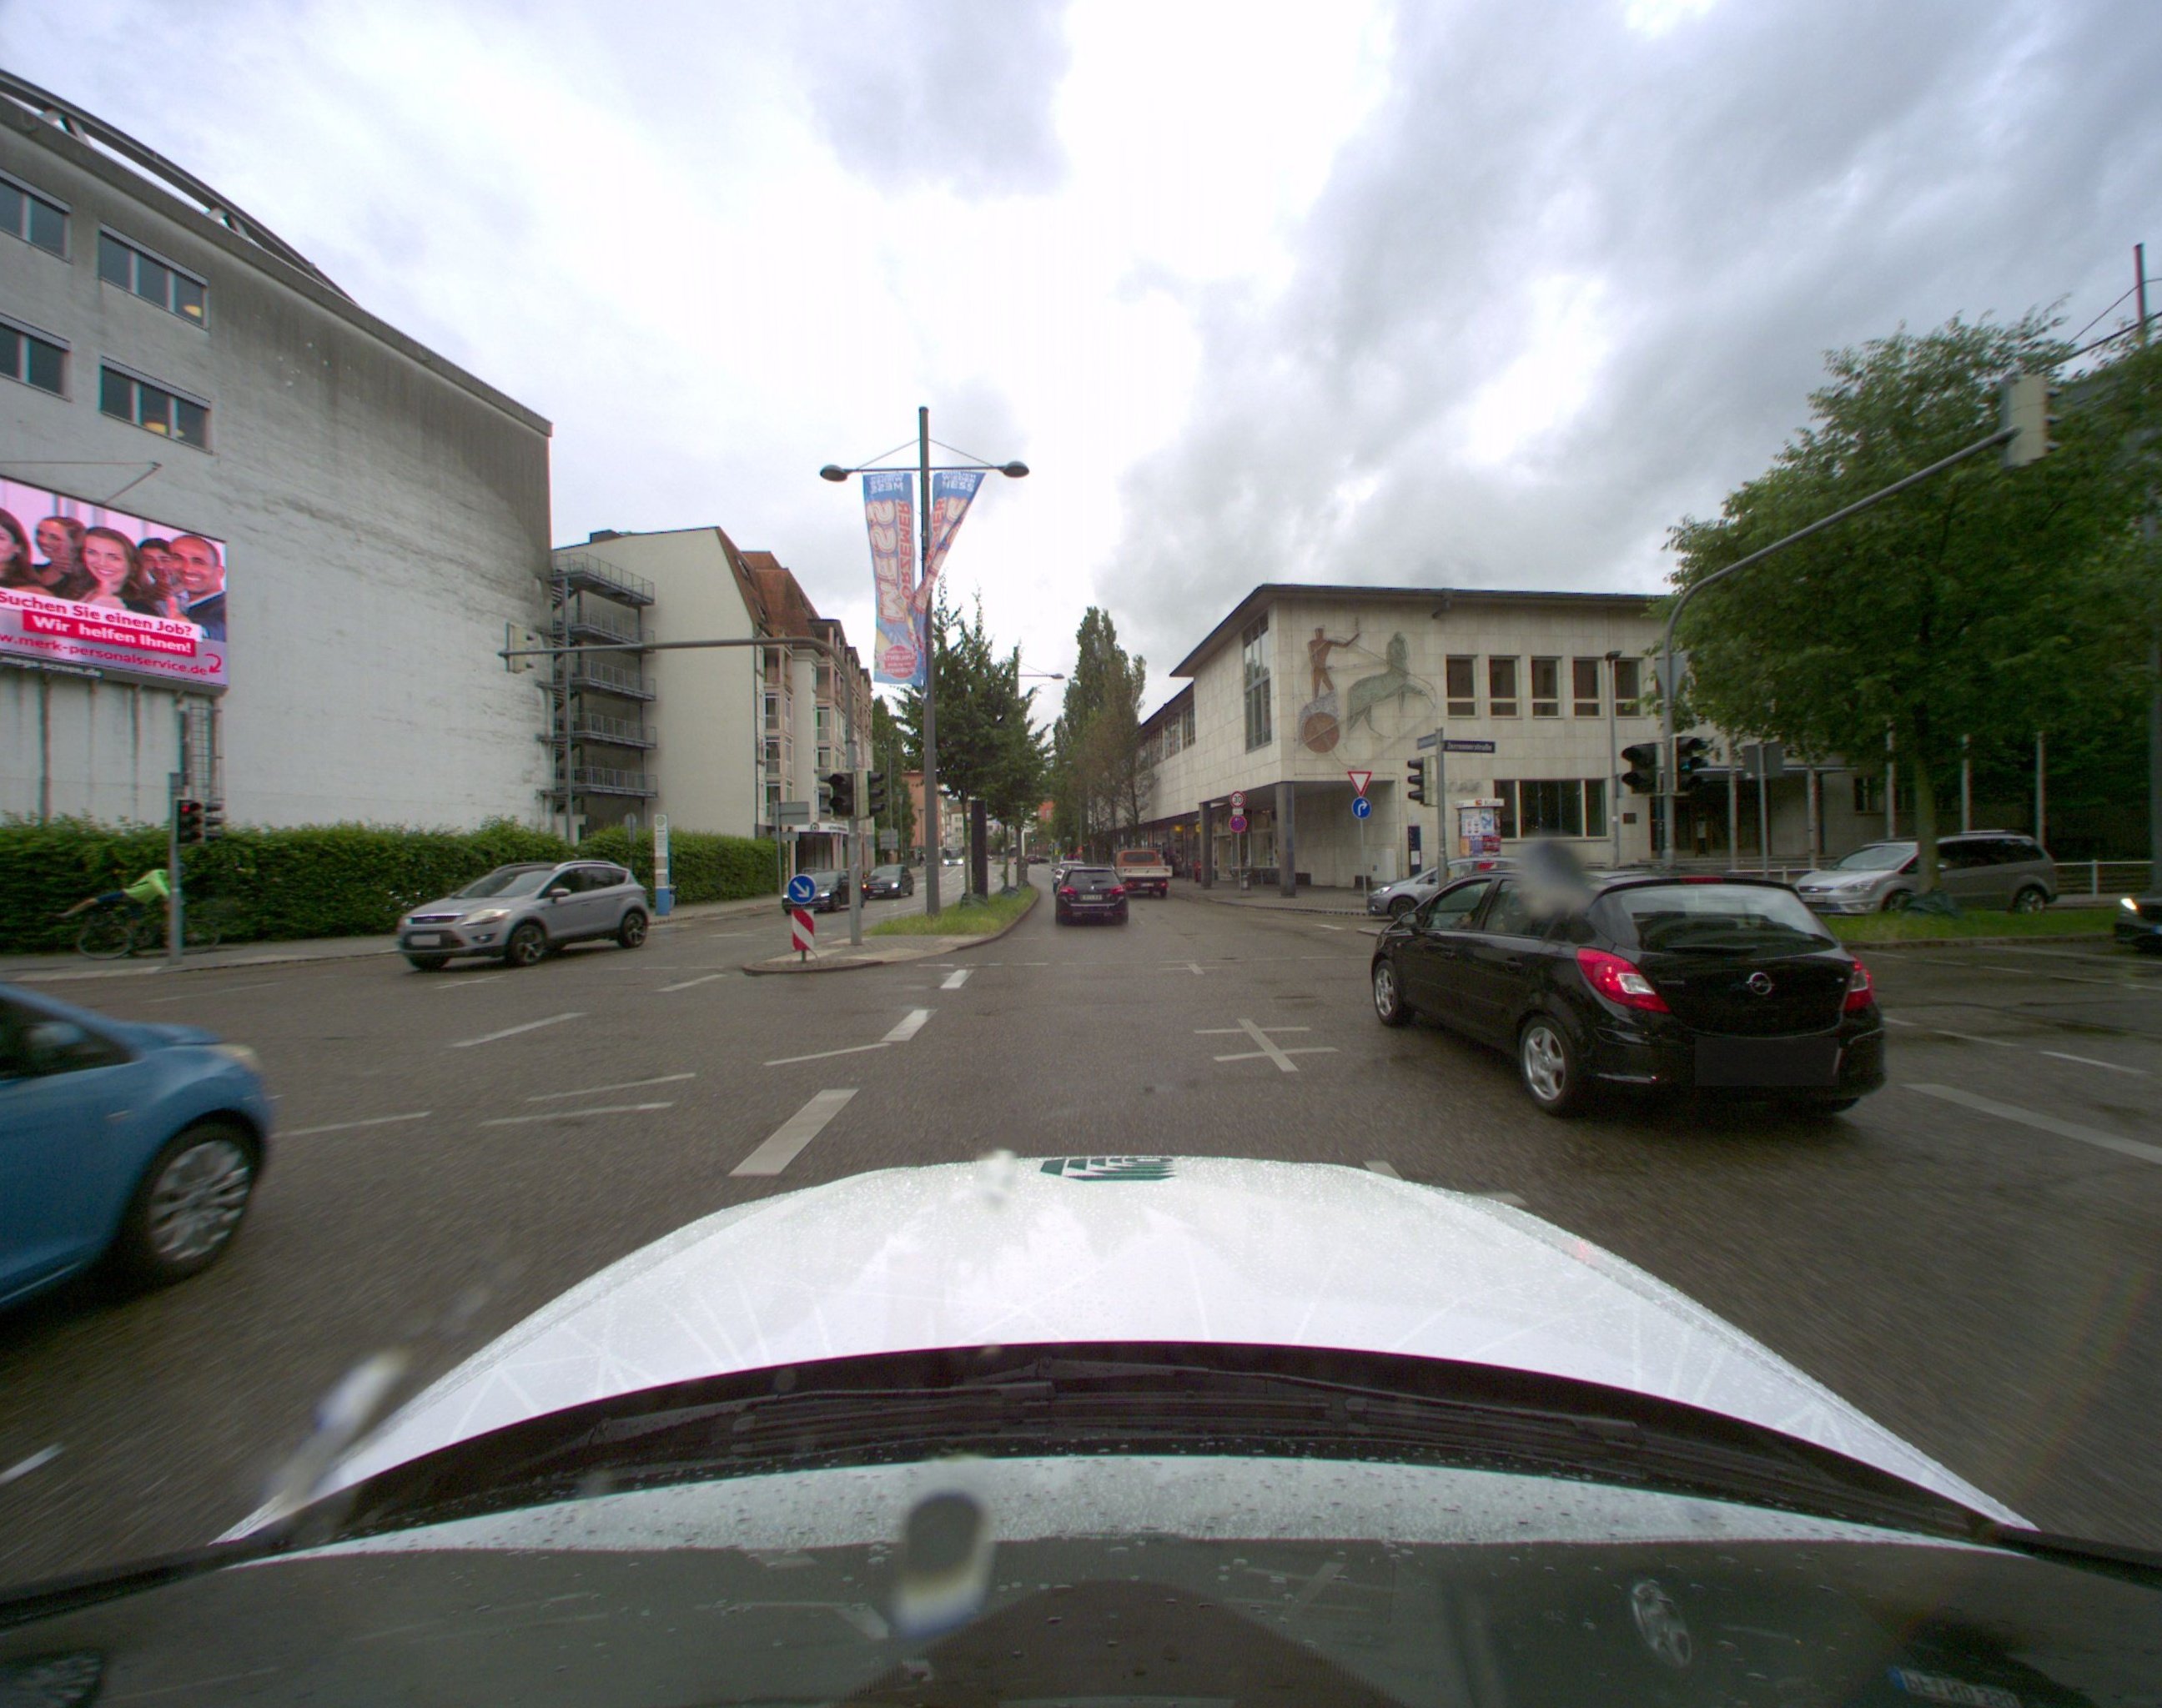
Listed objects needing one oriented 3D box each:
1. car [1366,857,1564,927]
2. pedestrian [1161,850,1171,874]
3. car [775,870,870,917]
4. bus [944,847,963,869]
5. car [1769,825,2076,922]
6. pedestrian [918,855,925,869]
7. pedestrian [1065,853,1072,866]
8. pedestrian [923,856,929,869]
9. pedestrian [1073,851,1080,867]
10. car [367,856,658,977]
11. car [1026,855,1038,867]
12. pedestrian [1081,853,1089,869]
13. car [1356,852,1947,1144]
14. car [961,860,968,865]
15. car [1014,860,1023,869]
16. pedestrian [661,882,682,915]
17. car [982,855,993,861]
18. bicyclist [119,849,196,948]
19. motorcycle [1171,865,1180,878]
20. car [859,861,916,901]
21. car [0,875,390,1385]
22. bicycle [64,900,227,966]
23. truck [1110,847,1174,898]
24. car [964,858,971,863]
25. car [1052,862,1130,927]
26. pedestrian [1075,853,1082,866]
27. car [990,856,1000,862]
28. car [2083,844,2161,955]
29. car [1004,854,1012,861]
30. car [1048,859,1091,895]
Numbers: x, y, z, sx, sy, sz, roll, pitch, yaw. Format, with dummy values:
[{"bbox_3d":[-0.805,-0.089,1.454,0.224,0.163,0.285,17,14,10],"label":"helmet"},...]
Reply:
[{"bbox_3d":[8.800,0.846,18.922,3.951,1.477,2.011,-1,-1,24],"label":"car"},{"bbox_3d":[5.703,0.532,54.841,0.425,1.566,0.513,-2,0,39],"label":"pedestrian"},{"bbox_3d":[-8.917,1.316,28.450,1.750,1.420,4.100,-3,-1,3],"label":"car"},{"bbox_3d":[-20.354,0.565,130.323,2.743,3.075,12.201,-1,1,-9],"label":"bus"},{"bbox_3d":[17.185,0.389,16.779,4.585,1.759,1.853,-1,-2,-4],"label":"car"},{"bbox_3d":[-19.410,0.974,99.086,0.697,1.794,0.957,0,-1,-4],"label":"pedestrian"},{"bbox_3d":[-1.527,0.668,97.643,0.716,1.620,0.767,-3,0,-7],"label":"pedestrian"},{"bbox_3d":[-20.825,1.123,109.437,0.795,1.794,0.811,0,-1,-5],"label":"pedestrian"},{"bbox_3d":[-0.526,0.595,90.773,0.653,1.767,0.920,-3,0,-7],"label":"pedestrian"},{"bbox_3d":[-9.624,0.969,14.314,1.819,1.736,4.315,-2,-1,4],"label":"car"},{"bbox_3d":[-7.277,1.085,120.590,1.643,1.564,3.591,2,-3,-7],"label":"car"},{"bbox_3d":[0.416,0.769,90.866,0.697,1.801,0.605,-3,0,-7],"label":"pedestrian"},{"bbox_3d":[3.510,0.741,5.969,1.703,1.457,3.741,0,0,-1],"label":"car"},{"bbox_3d":[-31.565,2.337,220.140,1.790,1.325,4.395,-1,0,-7],"label":"car"},{"bbox_3d":[-12.165,2.020,159.232,1.643,1.564,3.591,2,-3,-7],"label":"car"},{"bbox_3d":[-14.507,1.573,28.864,0.467,1.150,0.501,-1,0,-3],"label":"pedestrian"},{"bbox_3d":[-26.287,1.243,229.001,1.655,1.564,3.564,3,-3,-31],"label":"car"},{"bbox_3d":[-18.395,0.865,16.239,0.959,1.890,0.784,0,-1,-45],"label":"bicyclist"},{"bbox_3d":[6.060,1.125,52.191,0.324,0.804,0.918,-2,1,-7],"label":"motorcycle"},{"bbox_3d":[-9.134,1.245,38.786,1.823,1.736,4.254,-3,-1,-3],"label":"car"},{"bbox_3d":[-3.973,0.826,2.107,1.696,1.474,3.676,-2,-1,-11],"label":"car"},{"bbox_3d":[-18.473,1.530,16.160,0.644,1.110,2.070,-2,-1,45],"label":"bicycle"},{"bbox_3d":[2.486,0.771,34.316,2.117,2.025,4.710,0,-1,-3],"label":"truck"},{"bbox_3d":[-31.602,1.702,226.972,1.793,1.325,4.388,-1,0,-12],"label":"car"},{"bbox_3d":[0.302,0.973,20.876,1.788,1.484,4.001,0,-1,2],"label":"car"},{"bbox_3d":[-0.297,0.638,97.249,0.725,1.589,0.605,-3,0,-7],"label":"pedestrian"},{"bbox_3d":[-24.614,1.521,233.204,1.655,1.564,3.564,3,-3,-31],"label":"car"},{"bbox_3d":[16.023,0.541,10.611,4.256,1.420,1.783,-1,-1,-8],"label":"car"},{"bbox_3d":[-19.927,0.971,221.940,1.994,1.684,3.986,-1,0,-10],"label":"car"},{"bbox_3d":[-0.515,1.011,36.590,1.790,1.483,3.997,-1,0,-1],"label":"car"}]
